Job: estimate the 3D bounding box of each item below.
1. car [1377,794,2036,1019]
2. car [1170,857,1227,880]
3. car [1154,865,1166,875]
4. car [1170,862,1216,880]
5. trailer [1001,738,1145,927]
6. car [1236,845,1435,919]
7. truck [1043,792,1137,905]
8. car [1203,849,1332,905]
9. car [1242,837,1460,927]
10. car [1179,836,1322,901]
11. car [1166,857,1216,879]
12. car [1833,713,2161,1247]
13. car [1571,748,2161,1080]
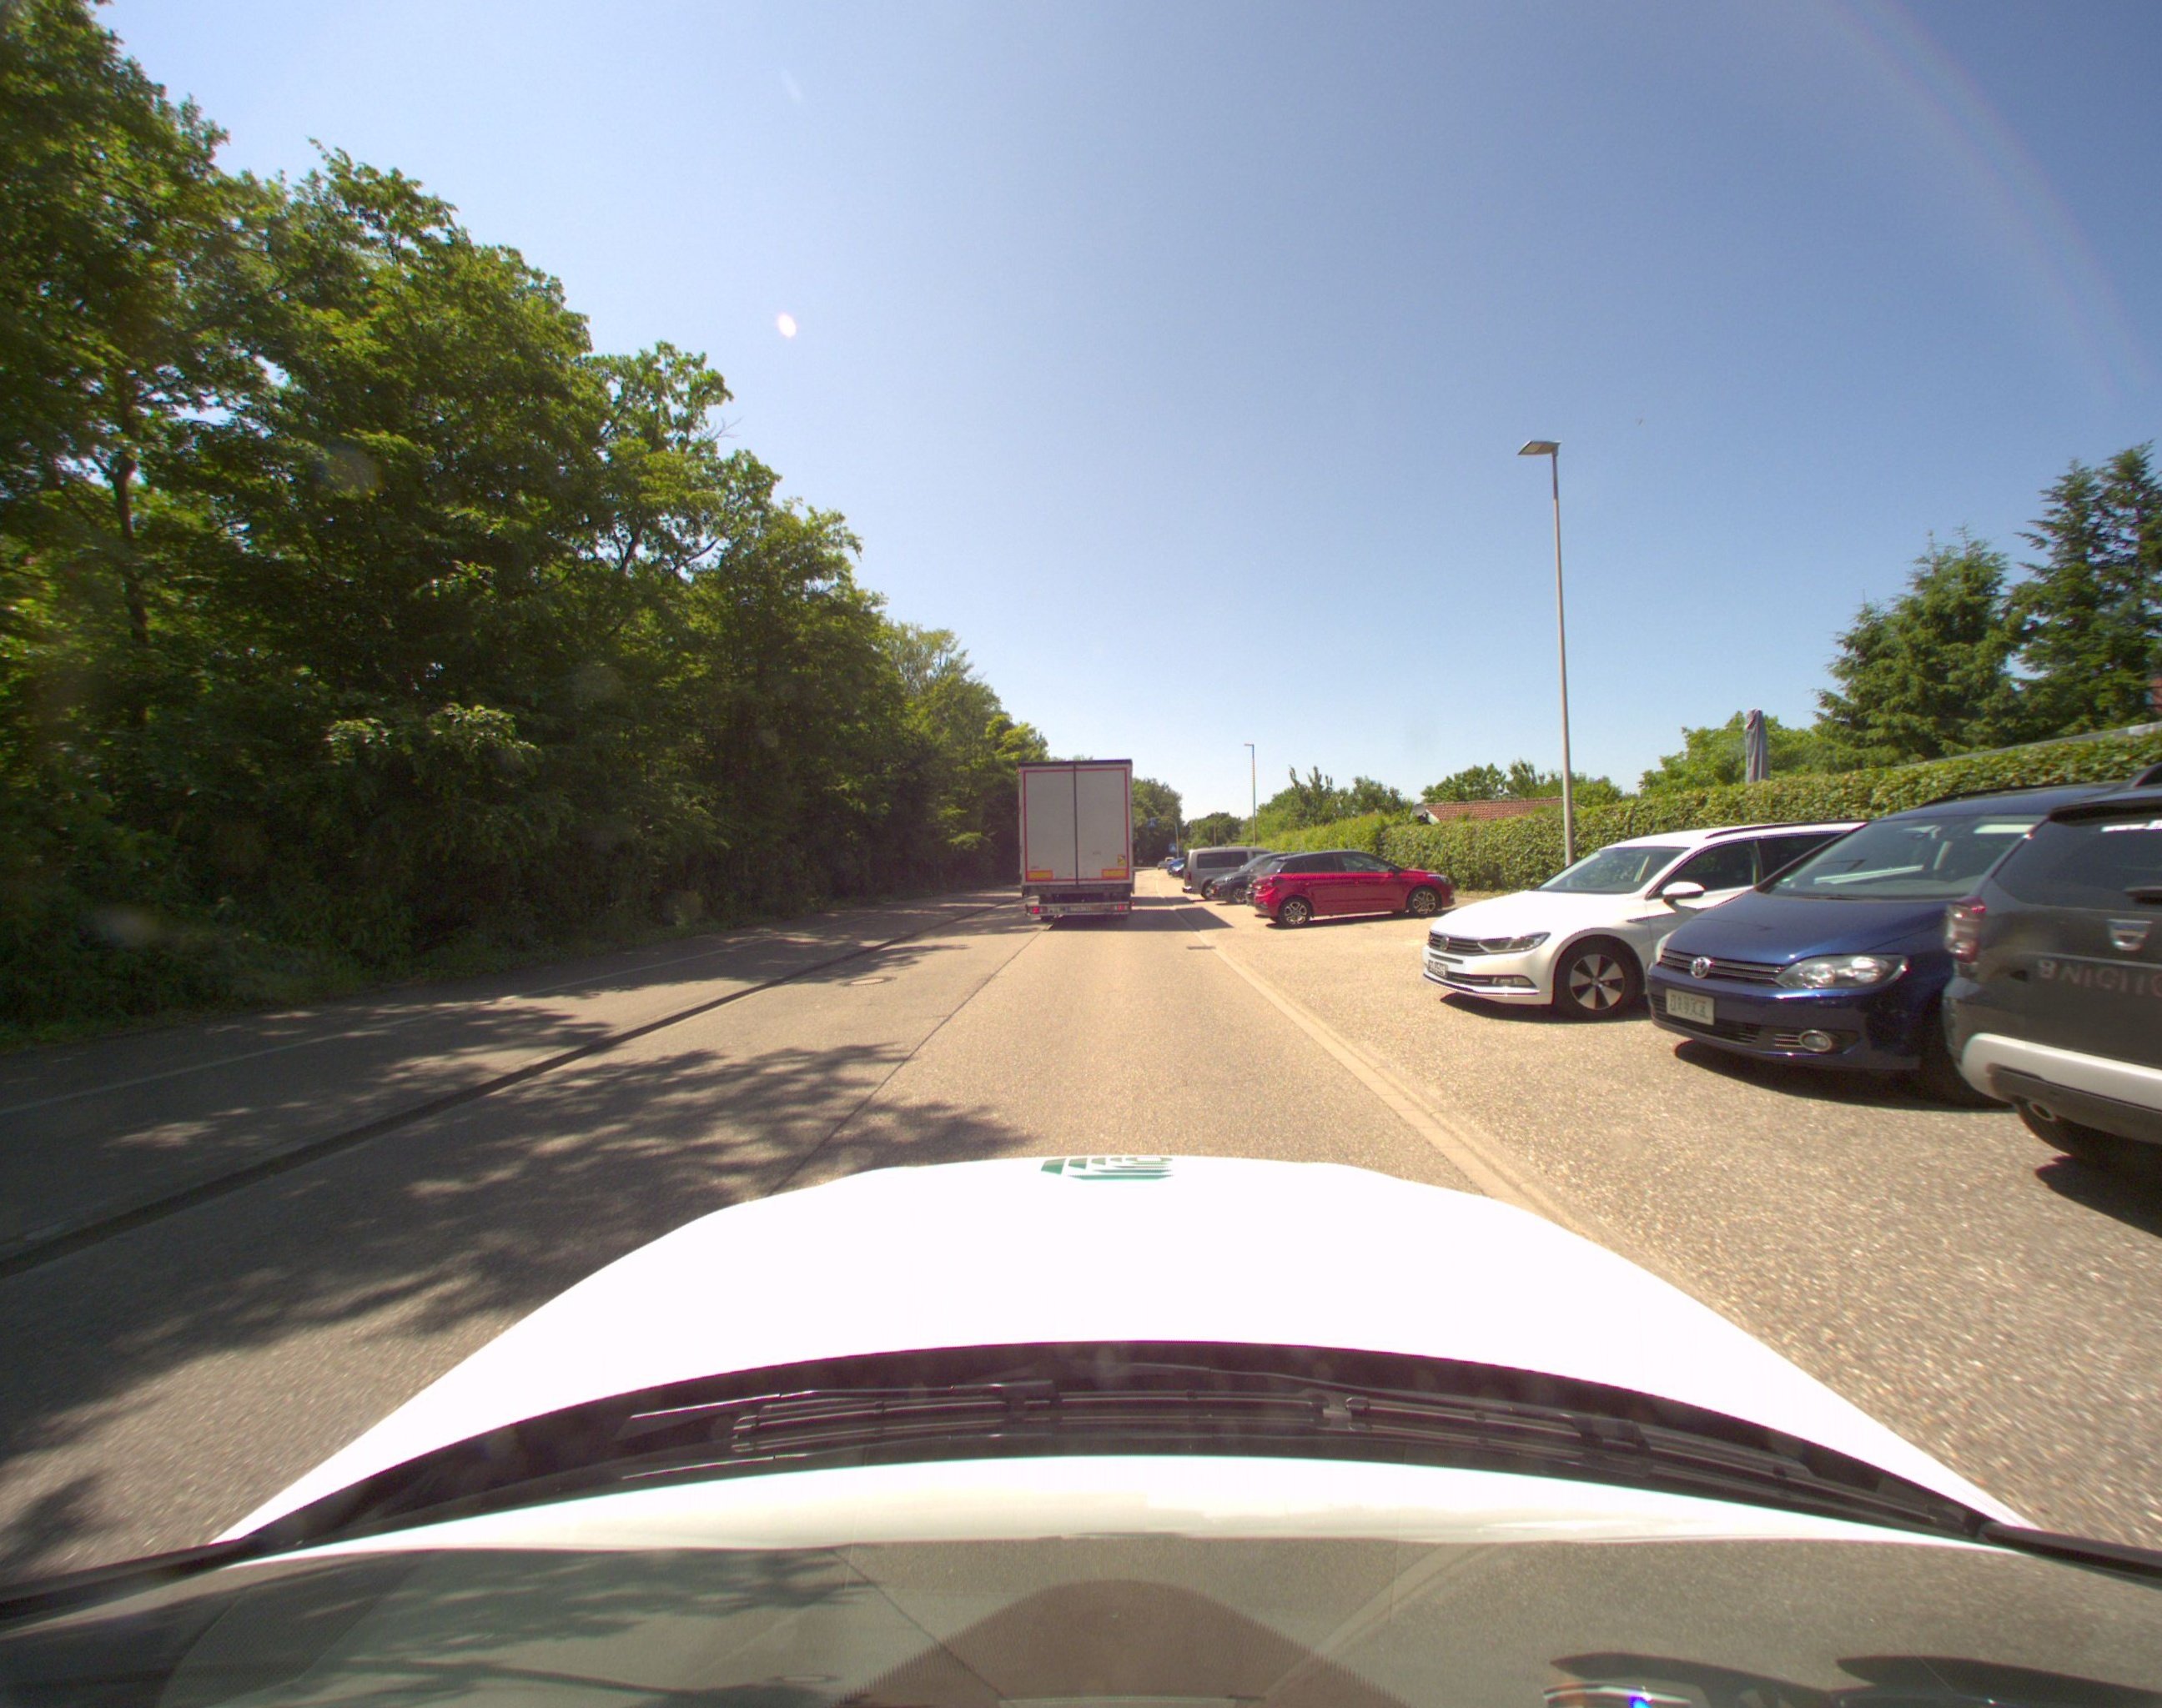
[{"bbox_3d":[5.398,0.430,7.517,4.545,1.439,1.960,-5,-1,-2],"label":"car"},{"bbox_3d":[8.951,1.144,62.214,4.144,1.495,1.885,-4,-2,4],"label":"car"},{"bbox_3d":[12.889,2.607,133.209,1.773,1.486,4.004,-1,-1,4],"label":"car"},{"bbox_3d":[9.360,1.474,68.375,3.715,1.268,1.630,-4,-2,6],"label":"car"},{"bbox_3d":[0.117,-0.419,23.686,3.100,4.103,11.544,-1,-1,3],"label":"trailer"},{"bbox_3d":[6.052,0.654,19.721,4.188,1.388,1.841,-5,-1,1],"label":"car"},{"bbox_3d":[0.507,-0.163,30.444,3.100,3.725,6.419,-1,-1,4],"label":"truck"},{"bbox_3d":[5.792,0.709,25.583,3.567,1.502,1.840,-3,-1,-3],"label":"car"},{"bbox_3d":[5.523,0.574,17.077,3.903,1.478,1.846,-5,-1,2],"label":"car"},{"bbox_3d":[5.875,0.504,28.723,4.601,1.848,1.997,-5,-1,3],"label":"car"},{"bbox_3d":[9.577,1.249,71.261,4.218,1.634,1.825,-4,-2,4],"label":"car"},{"bbox_3d":[5.518,0.245,2.641,4.240,1.698,1.855,-5,-1,3],"label":"car"},{"bbox_3d":[5.655,0.237,5.112,4.038,1.548,1.757,-5,-1,-2],"label":"car"}]
